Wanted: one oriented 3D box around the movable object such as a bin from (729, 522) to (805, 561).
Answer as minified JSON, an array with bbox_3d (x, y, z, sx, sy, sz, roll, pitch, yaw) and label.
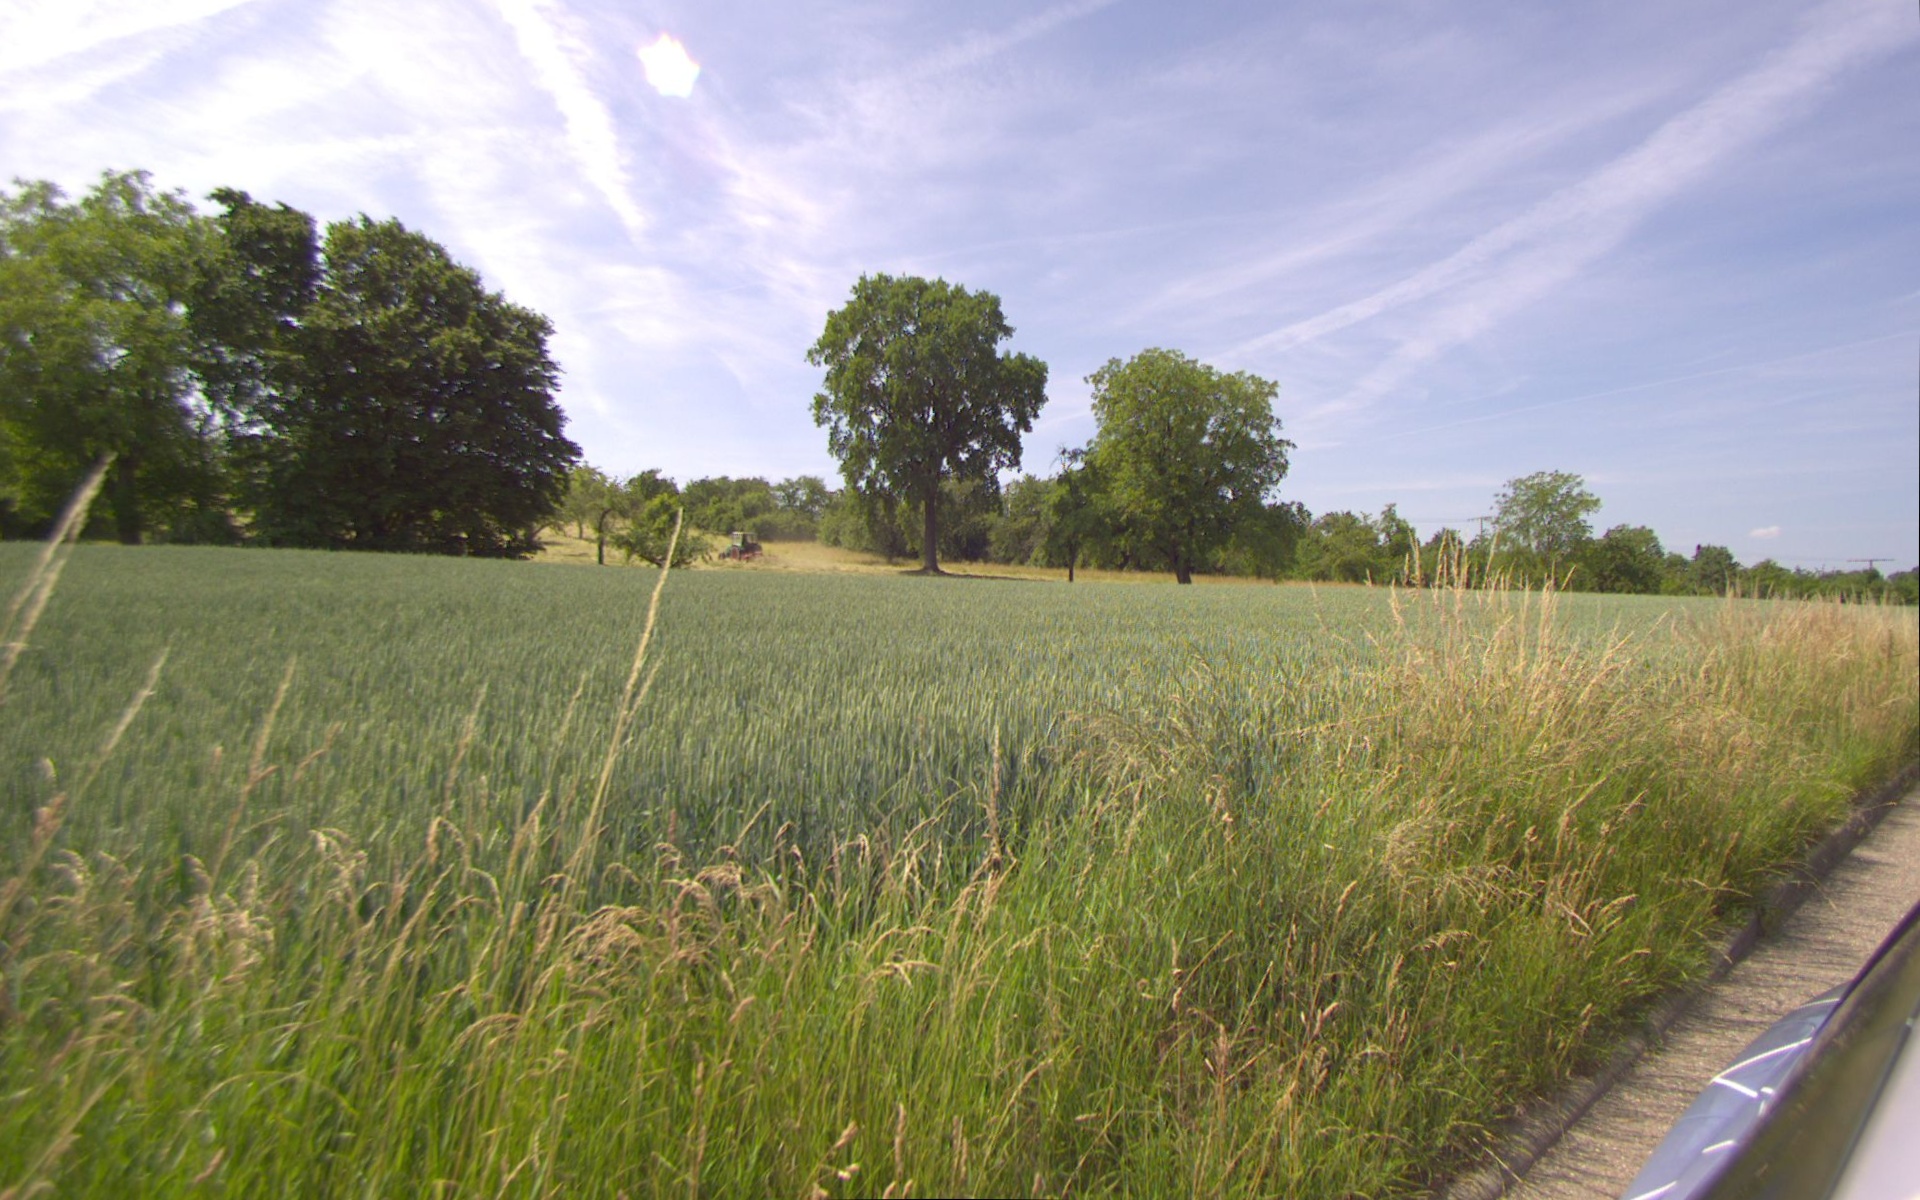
[{"bbox_3d":[-13.374,-4.050,69.837,2.401,2.398,6.576,0,4,-38],"label":"movable object such as a bin"}]
